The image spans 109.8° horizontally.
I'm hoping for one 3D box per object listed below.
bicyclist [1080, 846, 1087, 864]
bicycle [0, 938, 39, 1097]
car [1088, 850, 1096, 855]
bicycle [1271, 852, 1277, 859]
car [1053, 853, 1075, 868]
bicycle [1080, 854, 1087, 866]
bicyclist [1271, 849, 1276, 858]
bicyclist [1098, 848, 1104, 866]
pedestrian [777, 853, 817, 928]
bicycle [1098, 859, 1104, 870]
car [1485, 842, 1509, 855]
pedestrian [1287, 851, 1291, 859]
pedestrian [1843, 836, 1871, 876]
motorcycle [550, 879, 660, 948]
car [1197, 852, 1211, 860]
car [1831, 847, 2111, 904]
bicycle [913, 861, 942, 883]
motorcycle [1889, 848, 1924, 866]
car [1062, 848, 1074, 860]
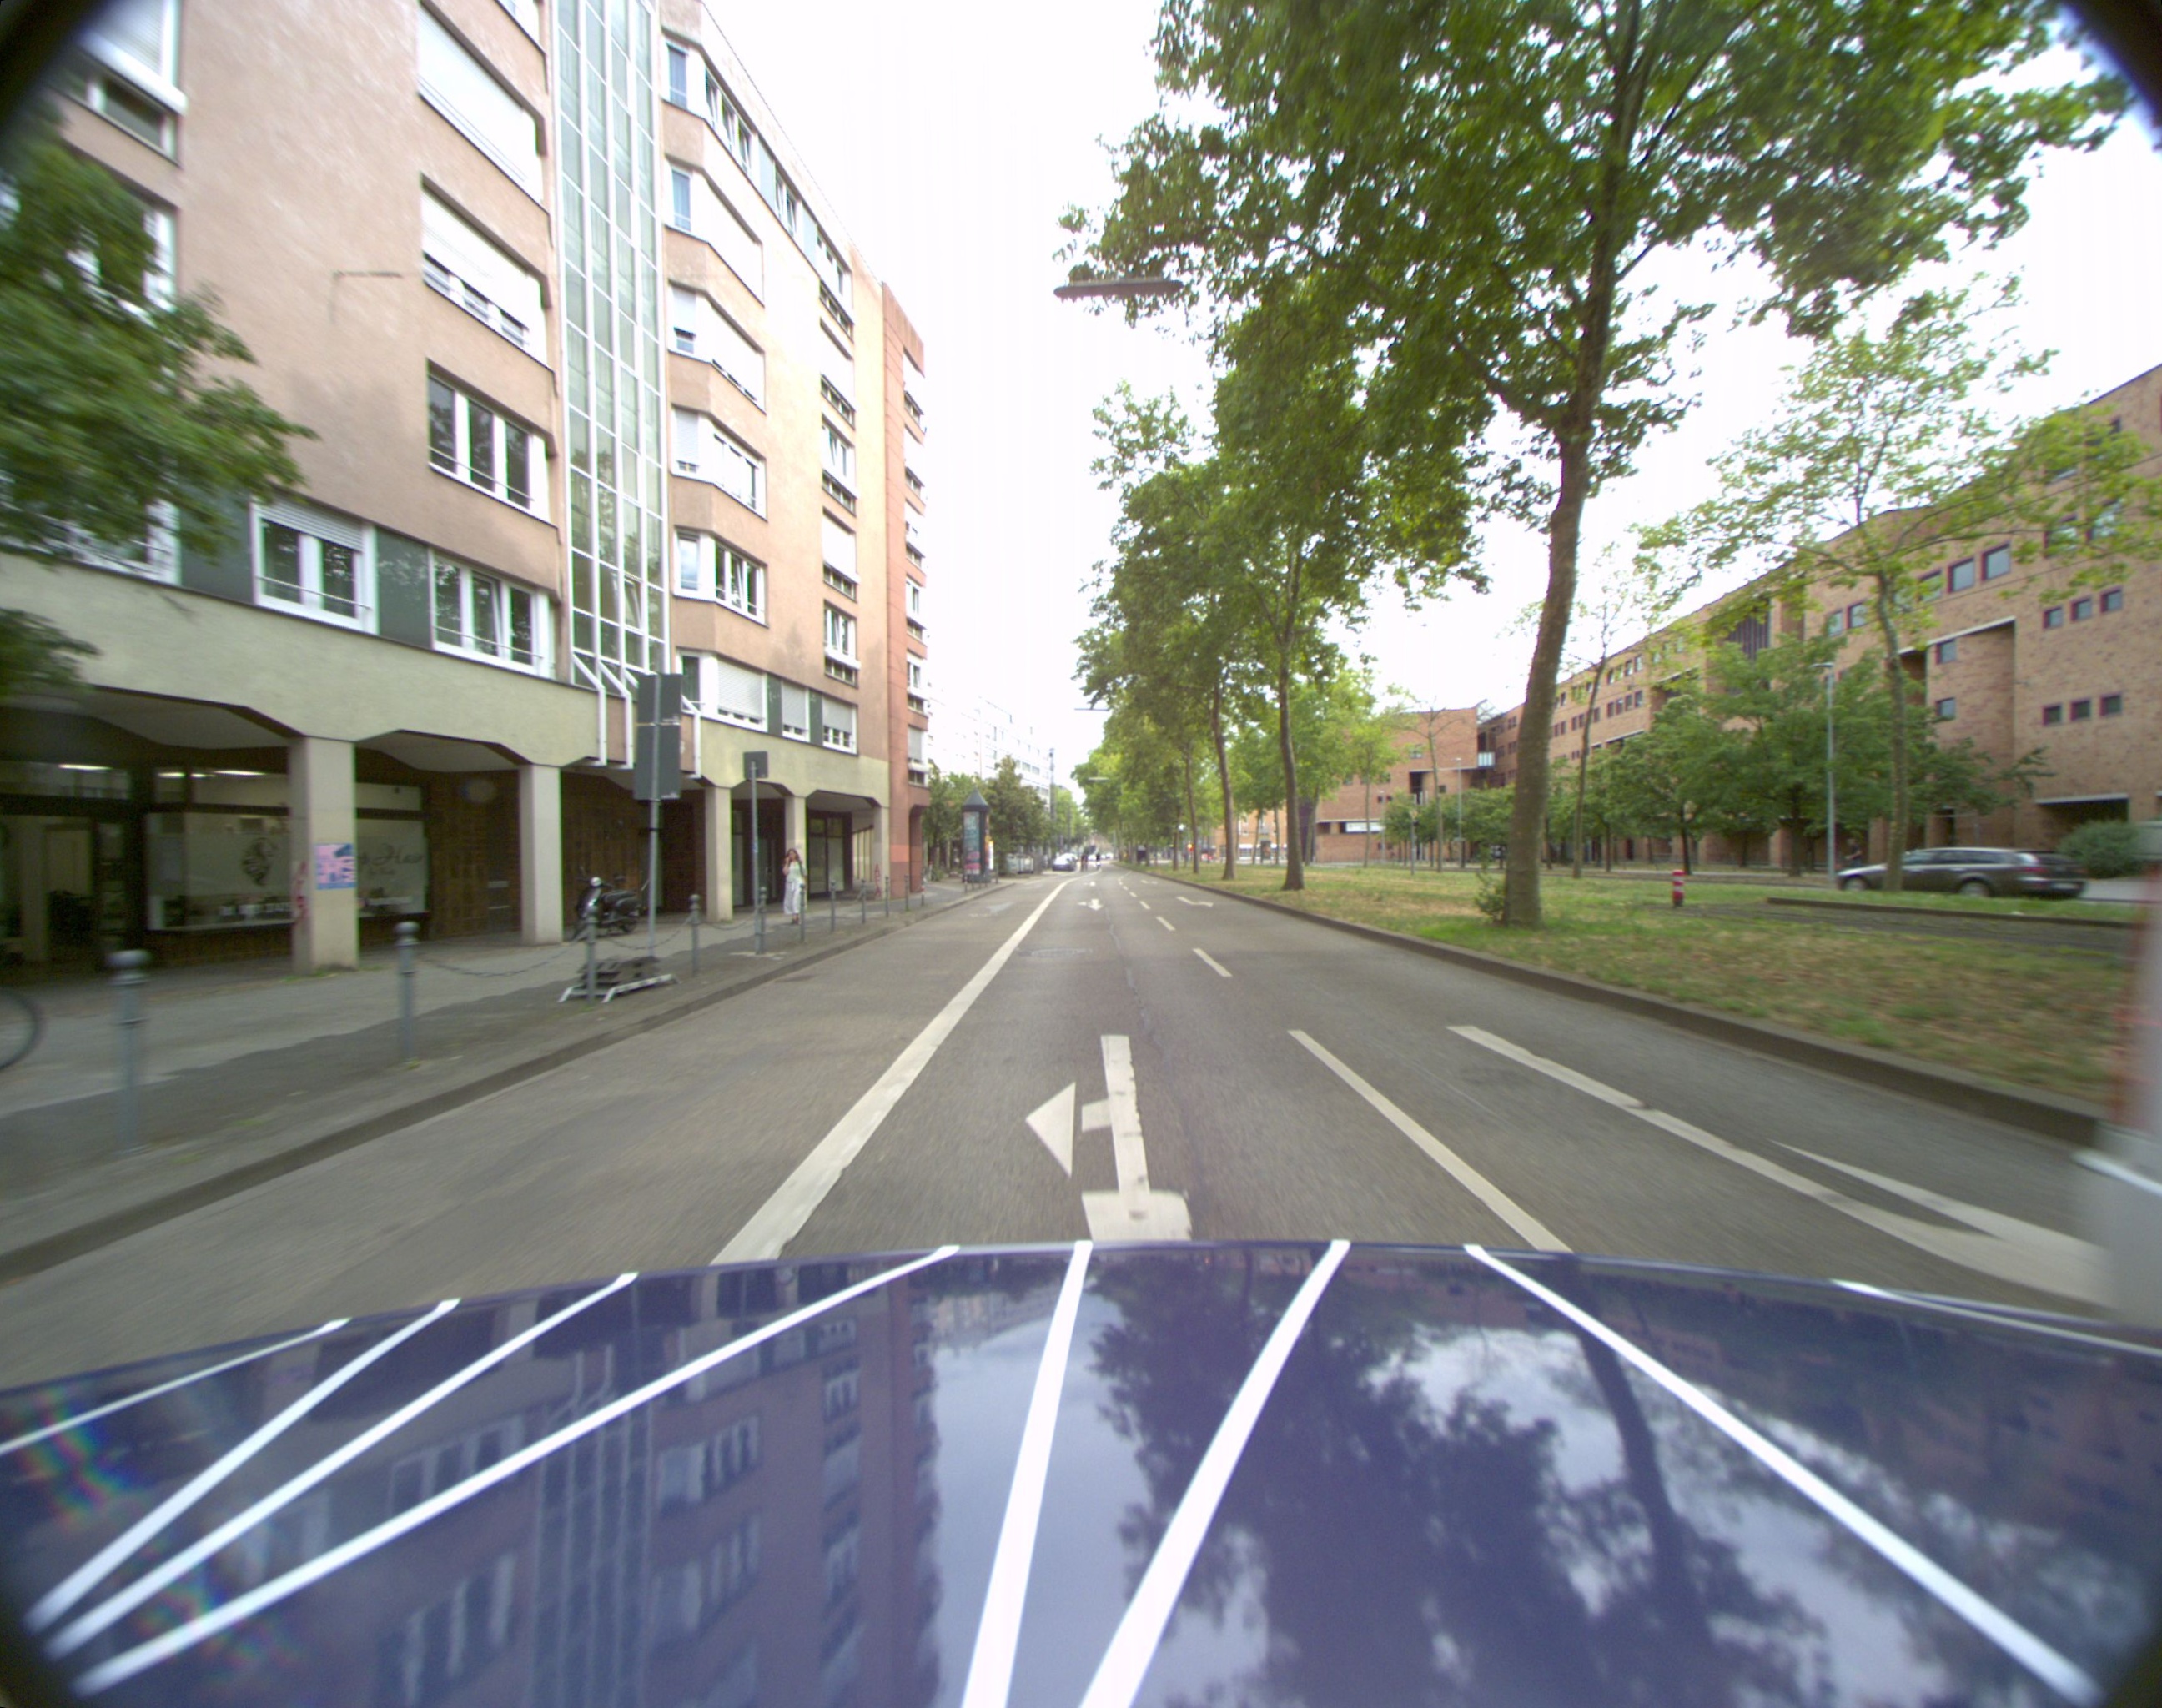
[{"bbox_3d":[0.250,0.089,73.774,0.591,1.758,1.035,0,1,1],"label":"bicyclist"},{"bbox_3d":[-8.087,1.183,4.712,0.613,1.111,1.805,-1,1,8],"label":"bicycle"},{"bbox_3d":[3.039,-0.447,204.504,1.845,1.369,3.835,-1,-1,5],"label":"car"},{"bbox_3d":[34.686,0.270,136.617,0.669,1.078,2.094,-1,0,4],"label":"bicycle"},{"bbox_3d":[-1.715,0.636,78.102,1.821,1.434,4.666,0,0,3],"label":"car"},{"bbox_3d":[0.250,0.614,73.733,0.595,1.132,2.091,0,0,1],"label":"bicycle"},{"bbox_3d":[34.696,-0.127,136.662,0.665,1.581,0.984,-1,0,3],"label":"bicyclist"},{"bbox_3d":[1.975,0.311,75.382,0.591,1.760,1.035,0,1,1],"label":"bicyclist"},{"bbox_3d":[-6.373,0.799,17.062,0.545,1.640,0.825,-1,1,1],"label":"pedestrian"},{"bbox_3d":[1.968,1.045,75.445,0.595,1.132,1.858,0,0,1],"label":"bicycle"},{"bbox_3d":[60.348,-0.760,110.249,1.896,1.797,4.003,-1,0,12],"label":"car"},{"bbox_3d":[45.871,0.267,167.589,0.540,1.722,0.543,-1,1,-1],"label":"pedestrian"},{"bbox_3d":[33.528,0.080,32.829,0.553,1.695,0.626,-1,1,5],"label":"pedestrian"},{"bbox_3d":[-8.973,1.088,14.423,0.617,1.149,1.905,1,0,12],"label":"motorcycle"},{"bbox_3d":[21.934,0.415,135.611,1.788,1.413,4.657,0,0,-1],"label":"car"},{"bbox_3d":[21.977,0.458,19.119,1.734,1.238,4.534,-1,0,0],"label":"car"},{"bbox_3d":[-8.248,0.951,40.814,1.660,1.122,0.672,1,2,42],"label":"bicycle"},{"bbox_3d":[46.100,0.169,42.414,1.585,1.017,0.365,-1,1,-2],"label":"motorcycle"},{"bbox_3d":[-2.101,-0.007,123.797,1.832,1.853,4.647,-1,0,-2],"label":"car"}]
